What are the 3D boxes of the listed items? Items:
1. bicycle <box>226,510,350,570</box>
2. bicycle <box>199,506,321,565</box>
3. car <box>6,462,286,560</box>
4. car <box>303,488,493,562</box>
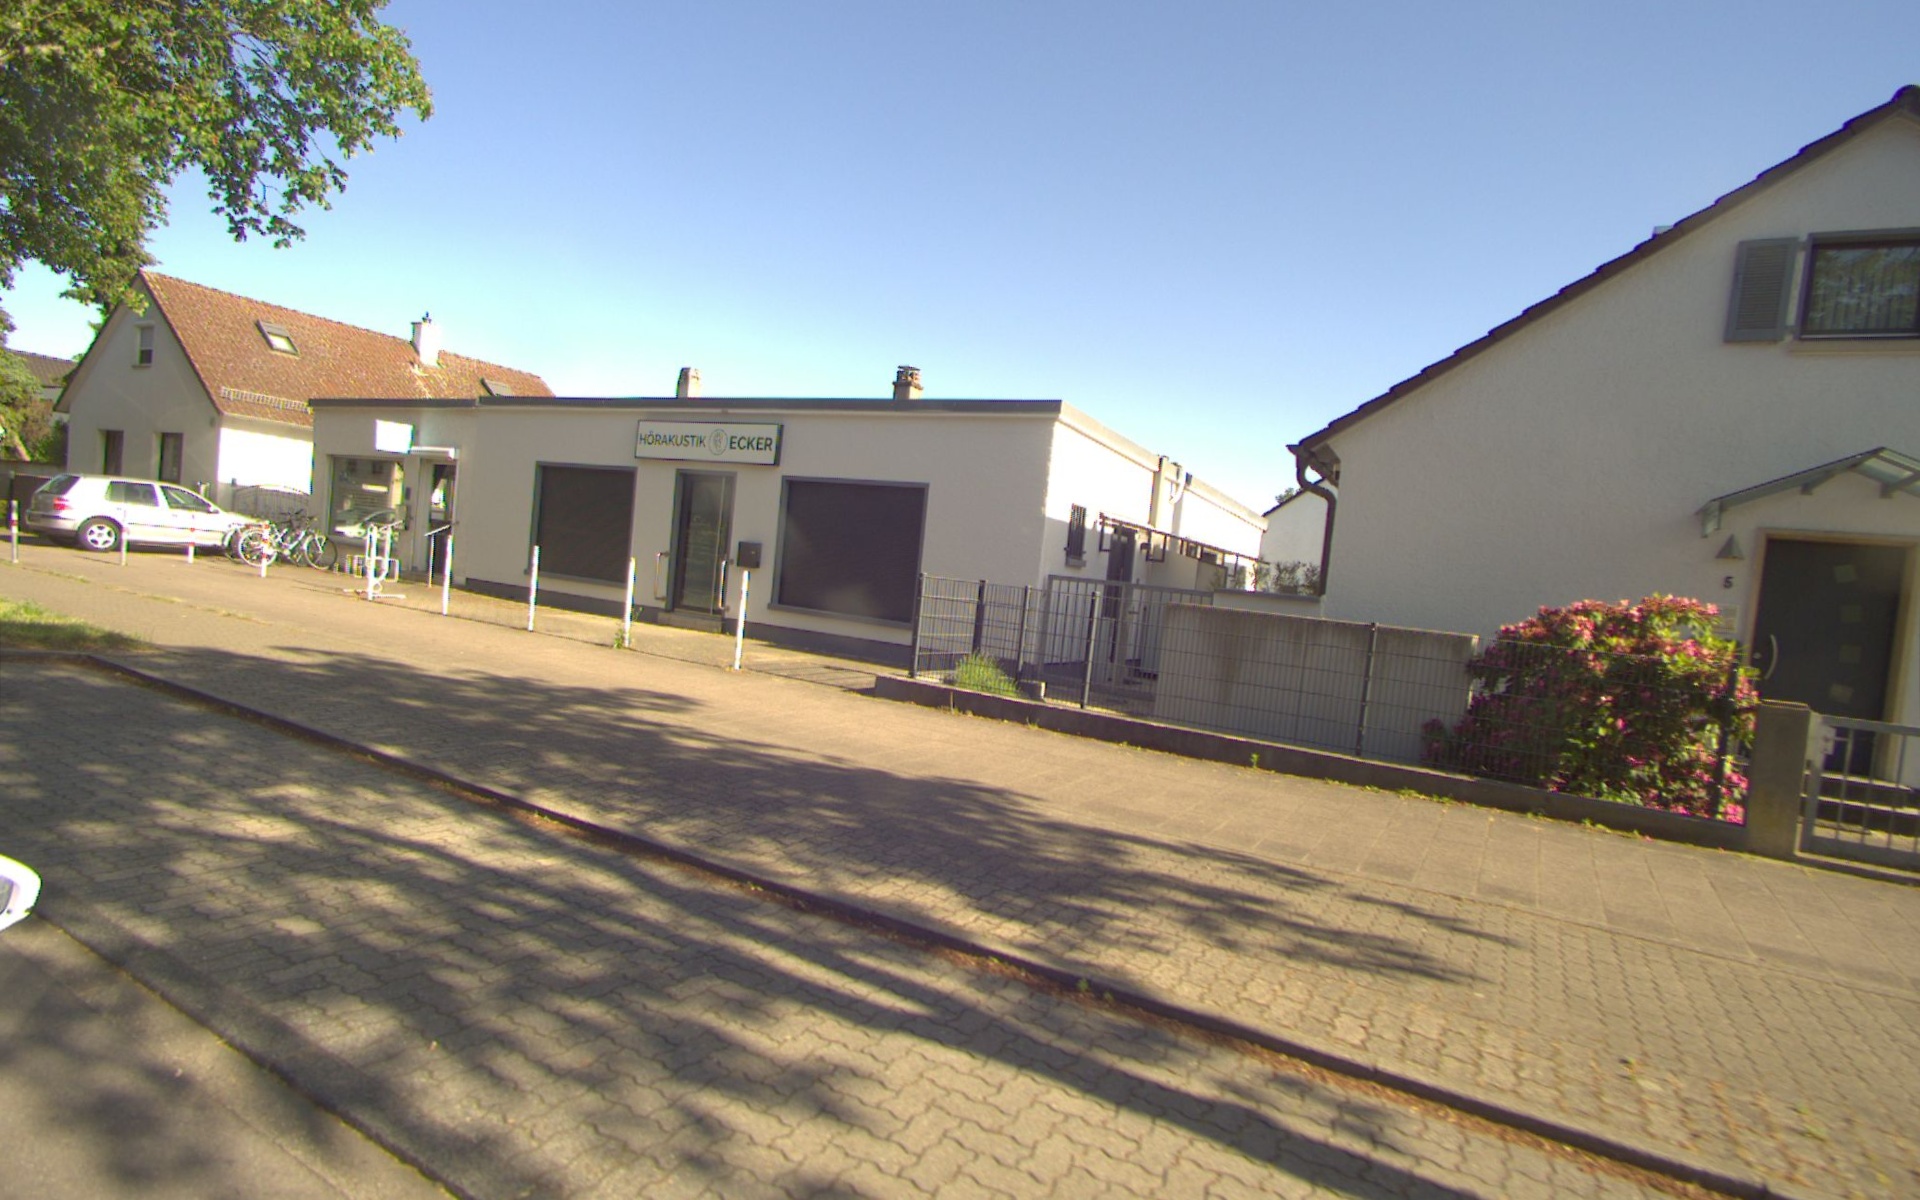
[{"bbox_3d":[-13.233,-1.161,19.882,0.566,1.012,1.959,9,4,29],"label":"bicycle"},{"bbox_3d":[-14.096,-1.284,20.309,0.566,1.012,1.924,9,4,29],"label":"bicycle"},{"bbox_3d":[-16.380,-1.747,20.446,1.869,1.509,3.988,9,4,29],"label":"car"},{"bbox_3d":[-14.782,-1.932,26.682,1.868,1.509,3.989,8,4,27],"label":"car"}]
